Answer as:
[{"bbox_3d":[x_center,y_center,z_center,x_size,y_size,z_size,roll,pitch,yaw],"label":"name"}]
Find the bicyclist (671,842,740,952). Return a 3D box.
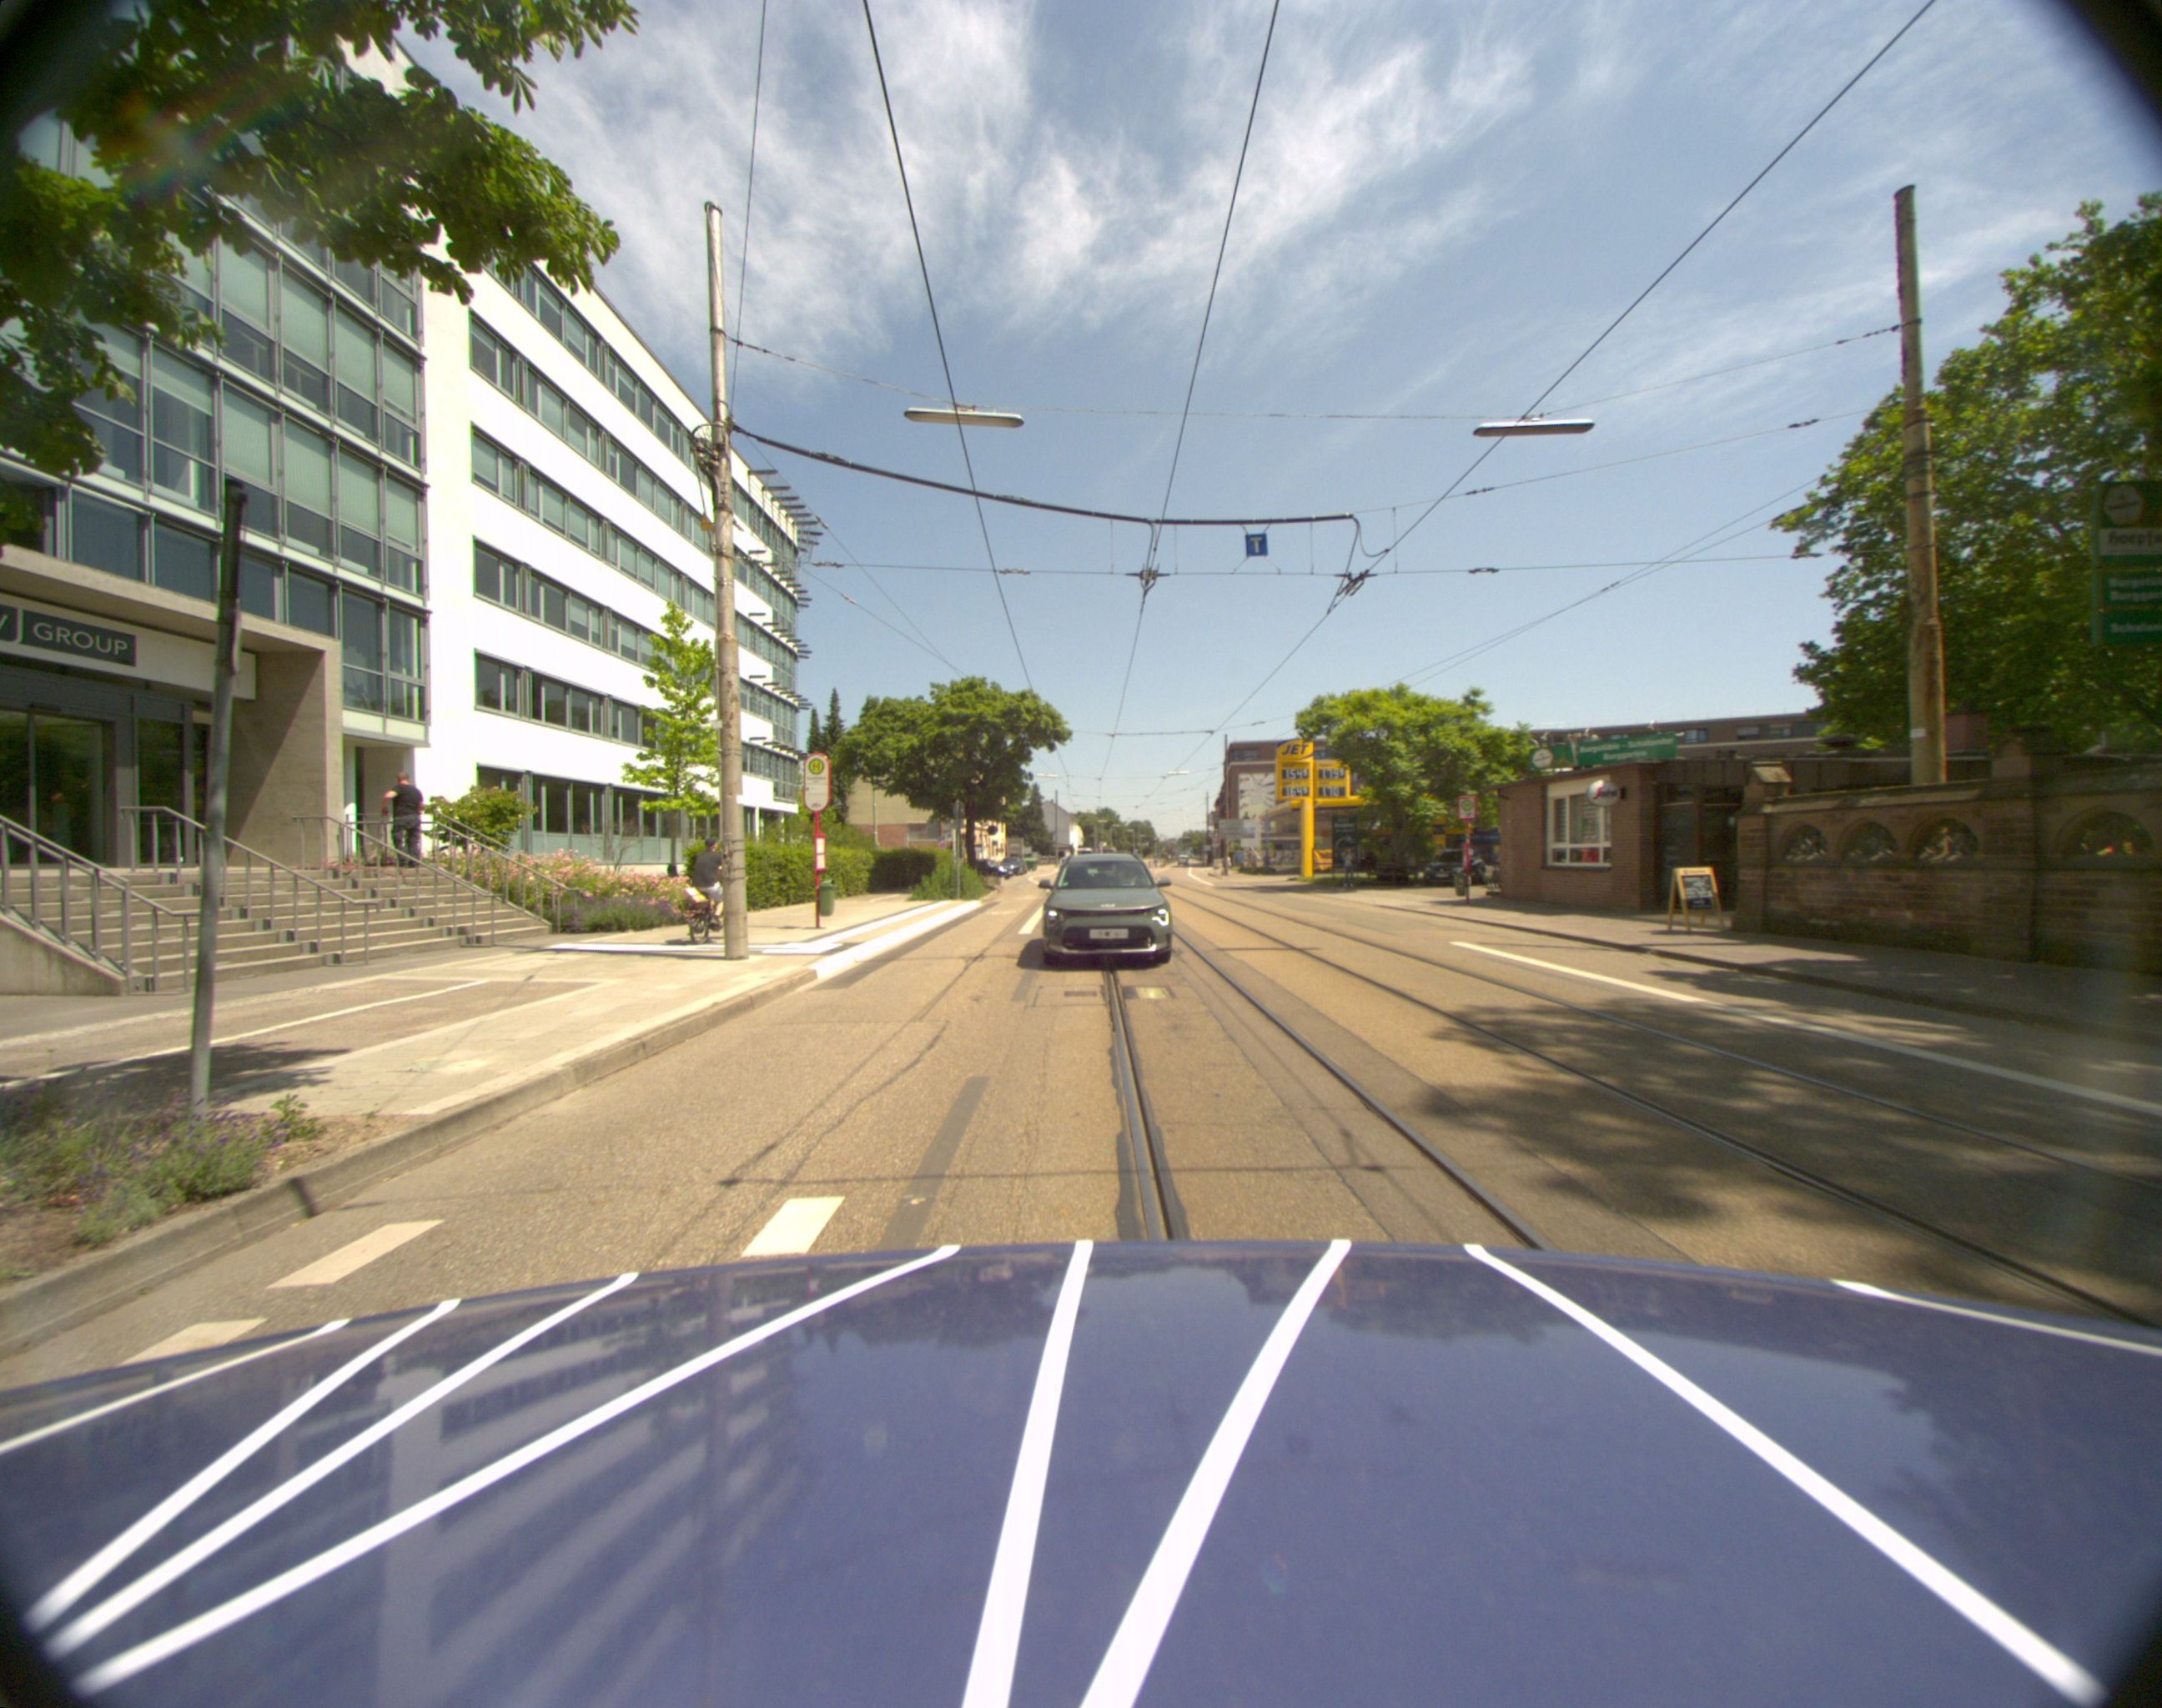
[{"bbox_3d":[-6.308,0.696,12.802,0.698,1.789,0.888,1,1,4],"label":"bicyclist"}]

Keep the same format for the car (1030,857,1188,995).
[{"bbox_3d":[0.309,0.853,11.175,1.827,1.546,4.486,-2,0,-1],"label":"car"}]

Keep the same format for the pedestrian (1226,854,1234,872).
[{"bbox_3d":[13.541,0.804,69.007,0.626,1.681,0.723,-1,1,13],"label":"pedestrian"}]

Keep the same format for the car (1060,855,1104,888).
[{"bbox_3d":[0.113,0.848,39.376,1.748,1.546,4.489,-2,0,7],"label":"car"}]

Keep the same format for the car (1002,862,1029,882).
[{"bbox_3d":[-6.046,1.645,70.747,1.929,1.683,5.082,1,0,2],"label":"car"}]

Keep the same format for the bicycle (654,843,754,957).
[{"bbox_3d":[-6.302,0.704,12.813,0.691,1.775,1.811,1,1,4],"label":"bicycle"}]

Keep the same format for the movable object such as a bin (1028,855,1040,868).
[{"bbox_3d":[-5.400,0.884,87.188,1.250,1.446,1.057,2,0,-3],"label":"movable object such as a bin"}]

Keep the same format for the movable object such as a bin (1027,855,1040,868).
[{"bbox_3d":[-5.383,0.871,86.131,1.327,1.446,1.057,2,0,-3],"label":"movable object such as a bin"}]

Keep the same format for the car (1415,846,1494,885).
[{"bbox_3d":[16.068,0.475,32.571,1.930,1.480,4.460,-2,0,41],"label":"car"}]

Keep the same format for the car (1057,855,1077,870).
[{"bbox_3d":[-1.486,0.885,82.083,1.748,1.546,4.488,-2,0,3],"label":"car"}]

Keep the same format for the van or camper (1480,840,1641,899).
[{"bbox_3d":[14.799,0.474,23.610,3.793,1.619,1.871,-2,-1,1],"label":"van or camper"}]

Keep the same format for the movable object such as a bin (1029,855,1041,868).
[{"bbox_3d":[-5.321,0.882,88.289,1.396,1.446,1.139,2,0,-3],"label":"movable object such as a bin"}]

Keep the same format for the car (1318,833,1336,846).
[{"bbox_3d":[30.492,-1.747,94.083,1.734,1.460,4.004,-1,0,13],"label":"car"}]

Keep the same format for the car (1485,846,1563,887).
[{"bbox_3d":[18.012,0.473,30.800,1.930,1.480,4.460,-2,0,41],"label":"car"}]

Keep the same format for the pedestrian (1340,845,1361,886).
[{"bbox_3d":[11.942,0.495,33.669,0.581,1.765,0.699,-2,0,-3],"label":"pedestrian"}]

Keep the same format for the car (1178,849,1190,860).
[{"bbox_3d":[19.110,0.092,140.538,1.997,1.789,4.555,-2,1,9],"label":"car"}]

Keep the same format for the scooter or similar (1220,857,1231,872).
[{"bbox_3d":[11.307,0.809,59.583,0.520,1.193,1.376,-2,0,-2],"label":"scooter or similar"}]

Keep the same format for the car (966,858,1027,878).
[{"bbox_3d":[-5.942,0.943,53.491,3.917,1.364,1.706,0,1,25],"label":"car"}]

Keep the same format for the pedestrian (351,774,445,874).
[{"bbox_3d":[-12.331,-0.523,13.728,0.874,1.705,1.092,2,1,36],"label":"pedestrian"}]
